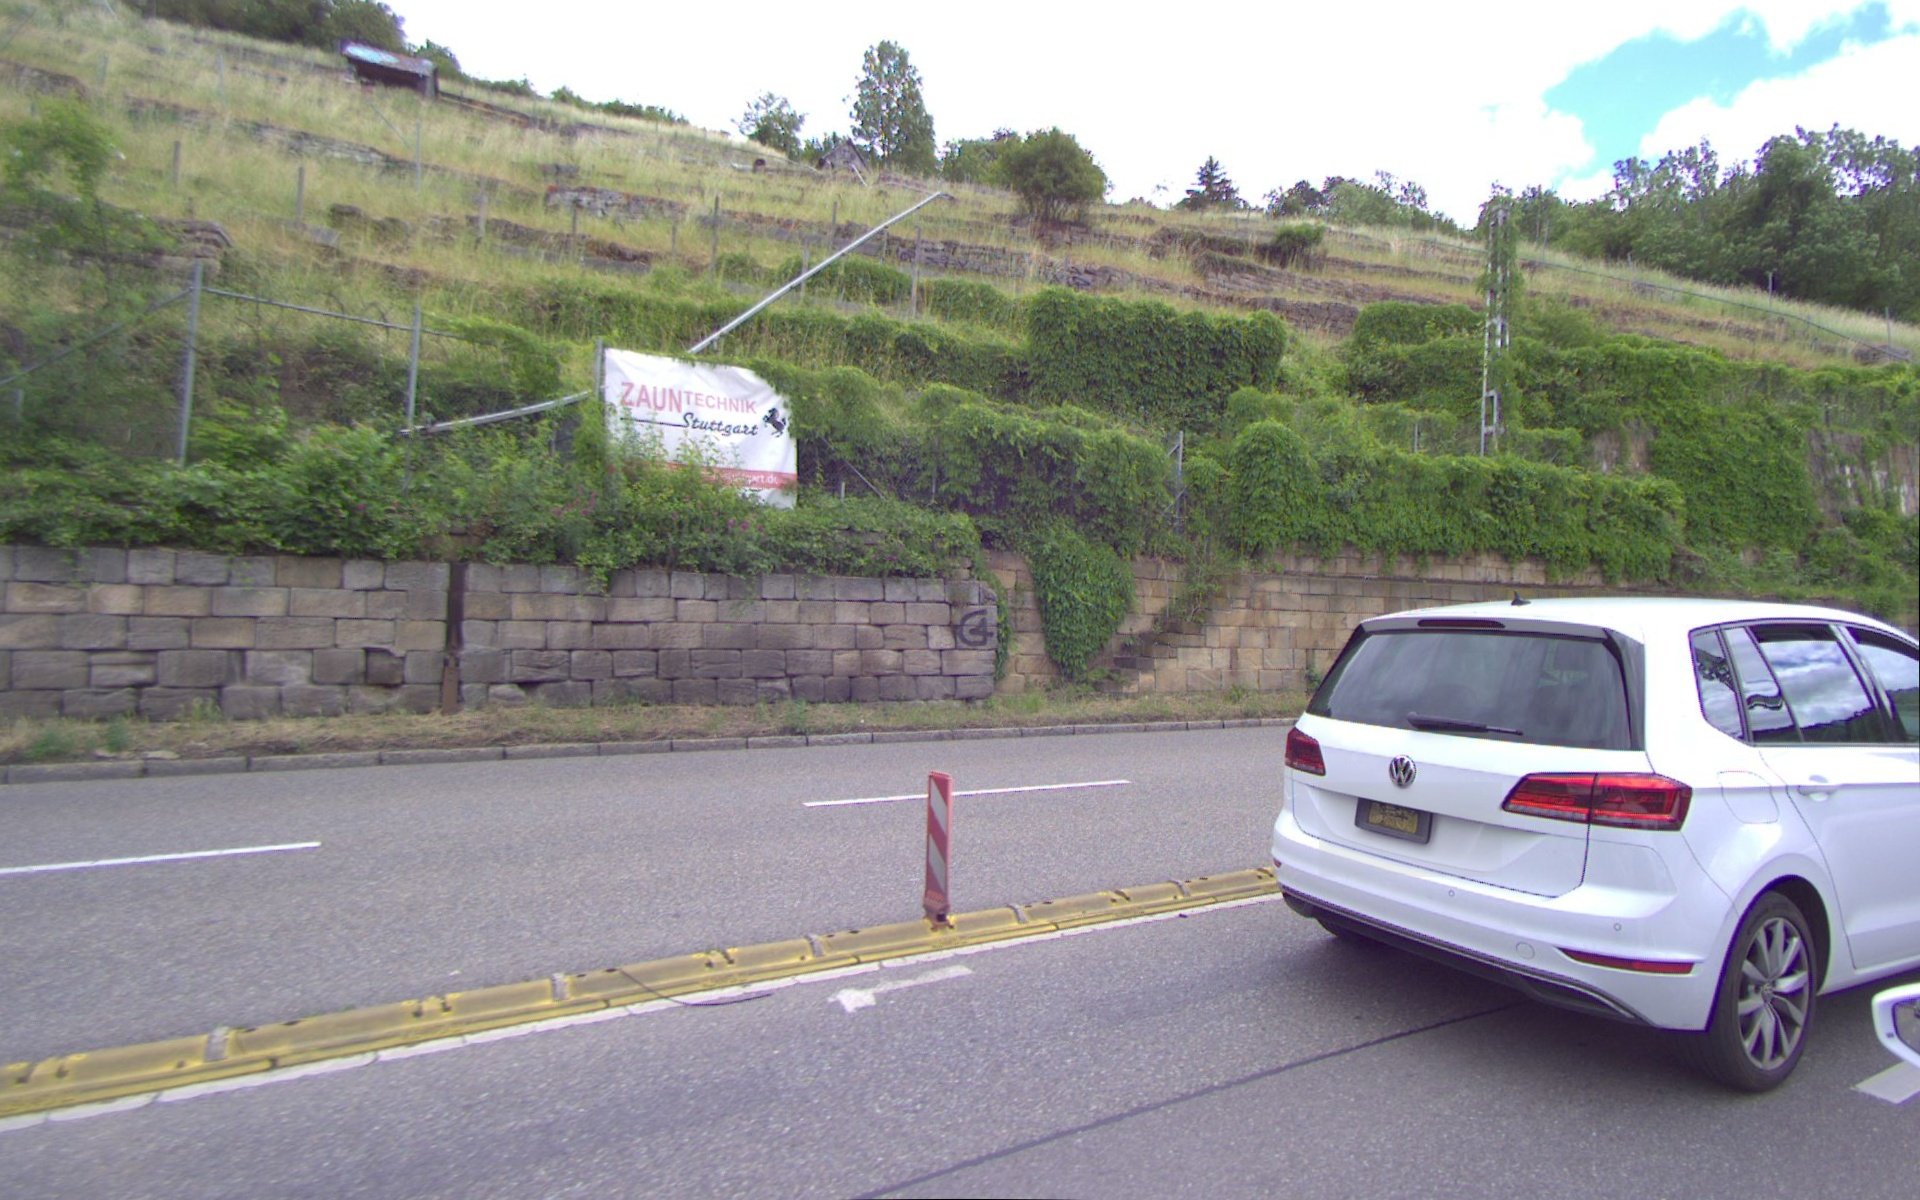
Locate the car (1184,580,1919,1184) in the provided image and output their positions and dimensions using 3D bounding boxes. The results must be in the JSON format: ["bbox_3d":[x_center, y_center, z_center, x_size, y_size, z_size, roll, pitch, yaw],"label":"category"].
[{"bbox_3d":[3.284,0.796,4.478,4.301,1.601,1.814,2,0,-28],"label":"car"}]
